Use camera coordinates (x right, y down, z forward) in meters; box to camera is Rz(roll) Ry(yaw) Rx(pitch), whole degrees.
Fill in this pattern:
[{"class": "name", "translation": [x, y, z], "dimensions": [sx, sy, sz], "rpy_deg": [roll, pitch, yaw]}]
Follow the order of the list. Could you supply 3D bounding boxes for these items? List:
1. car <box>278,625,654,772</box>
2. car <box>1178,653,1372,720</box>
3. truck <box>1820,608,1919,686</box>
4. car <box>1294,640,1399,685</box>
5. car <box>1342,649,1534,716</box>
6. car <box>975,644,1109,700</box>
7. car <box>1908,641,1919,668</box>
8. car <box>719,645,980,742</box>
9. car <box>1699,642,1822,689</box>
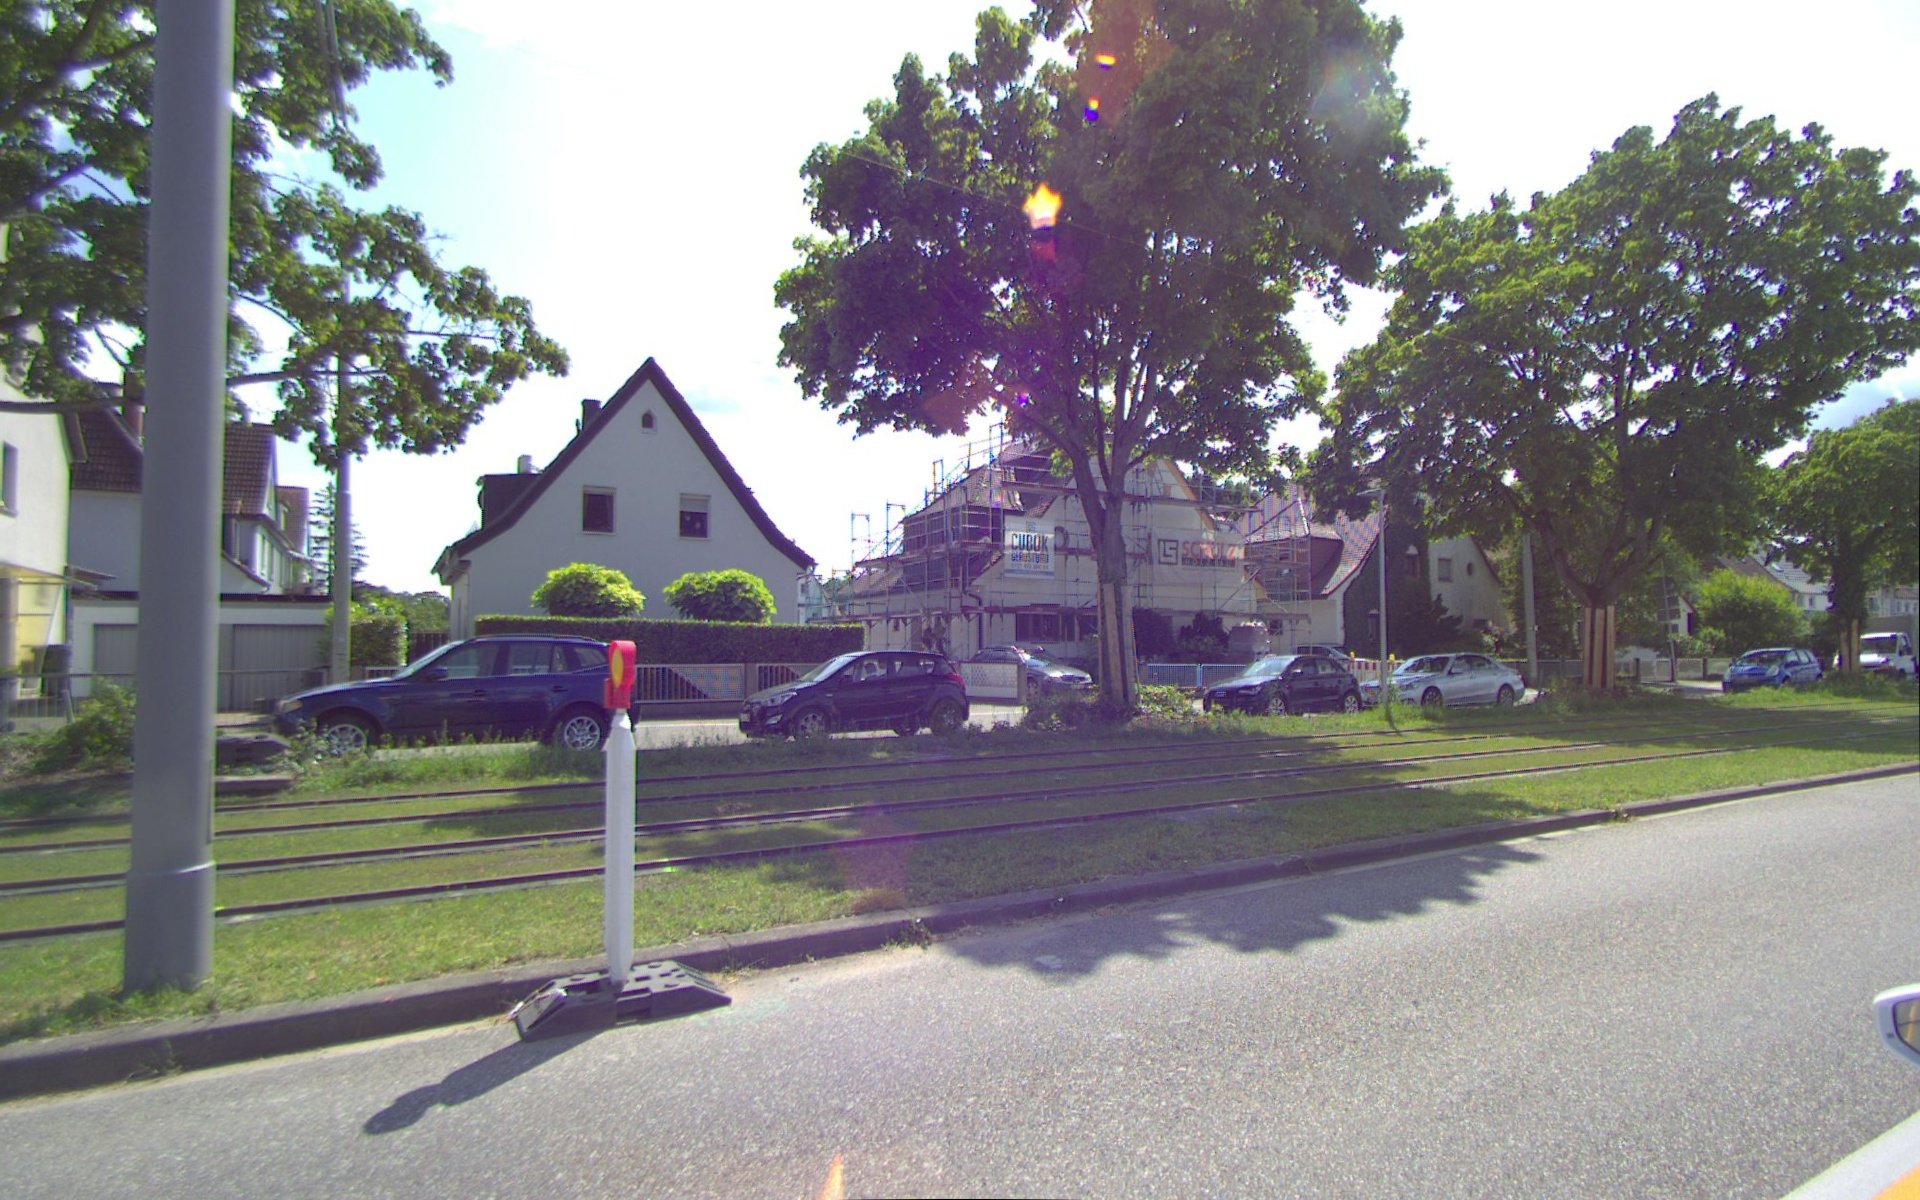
[{"class": "car", "translation": [-6.676, 1.284, 13.801], "dimensions": [4.345, 1.713, 1.982], "rpy_deg": [3, -4, -33]}, {"class": "car", "translation": [6.897, 1.886, 21.969], "dimensions": [3.807, 1.334, 1.985], "rpy_deg": [2, -6, -30]}, {"class": "truck", "translation": [36.058, 1.854, 38.996], "dimensions": [6.202, 2.803, 1.985], "rpy_deg": [1, -6, -30]}, {"class": "car", "translation": [15.511, 2.516, 40.475], "dimensions": [1.851, 1.705, 3.632], "rpy_deg": [2, -4, -30]}, {"class": "car", "translation": [11.781, 1.999, 24.678], "dimensions": [4.881, 1.501, 1.797], "rpy_deg": [2, -4, -30]}, {"class": "car", "translation": [2.282, 2.034, 28.902], "dimensions": [1.958, 1.419, 3.970], "rpy_deg": [3, -3, -29]}, {"class": "car", "translation": [64.219, 3.609, 66.234], "dimensions": [2.994, 1.744, 1.677], "rpy_deg": [2, -4, -30]}, {"class": "car", "translation": [-1.853, 1.549, 16.994], "dimensions": [3.953, 1.457, 1.985], "rpy_deg": [2, -5, -30]}, {"class": "car", "translation": [26.687, 2.192, 33.470], "dimensions": [3.956, 1.472, 1.984], "rpy_deg": [2, -4, -32]}]
